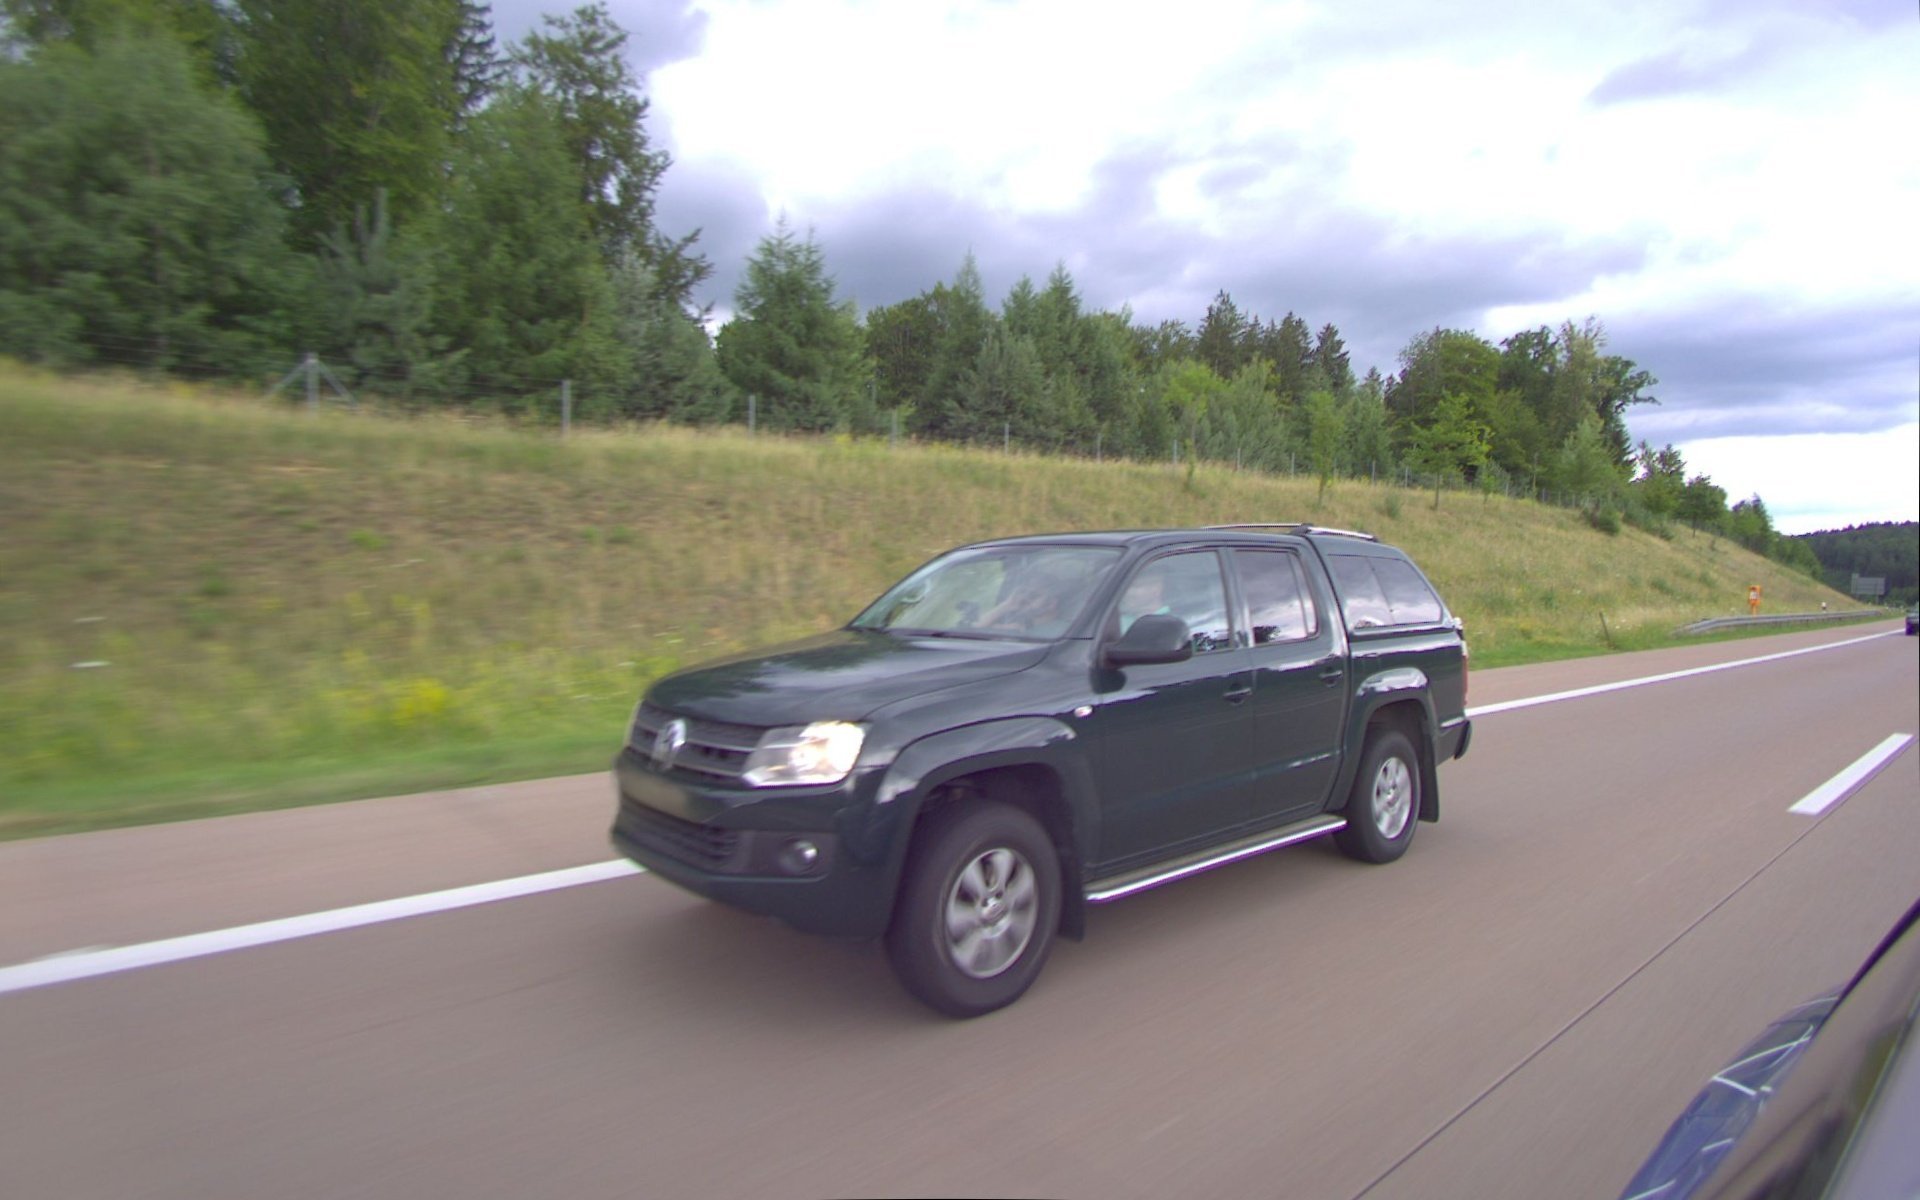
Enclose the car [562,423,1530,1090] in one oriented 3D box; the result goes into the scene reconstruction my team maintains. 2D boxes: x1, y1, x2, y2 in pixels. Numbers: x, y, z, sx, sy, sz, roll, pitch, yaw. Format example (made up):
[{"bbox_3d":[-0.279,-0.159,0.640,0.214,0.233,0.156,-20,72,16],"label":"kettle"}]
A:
[{"bbox_3d":[0.960,0.395,5.505,5.481,1.920,2.047,-1,2,-42],"label":"car"}]
